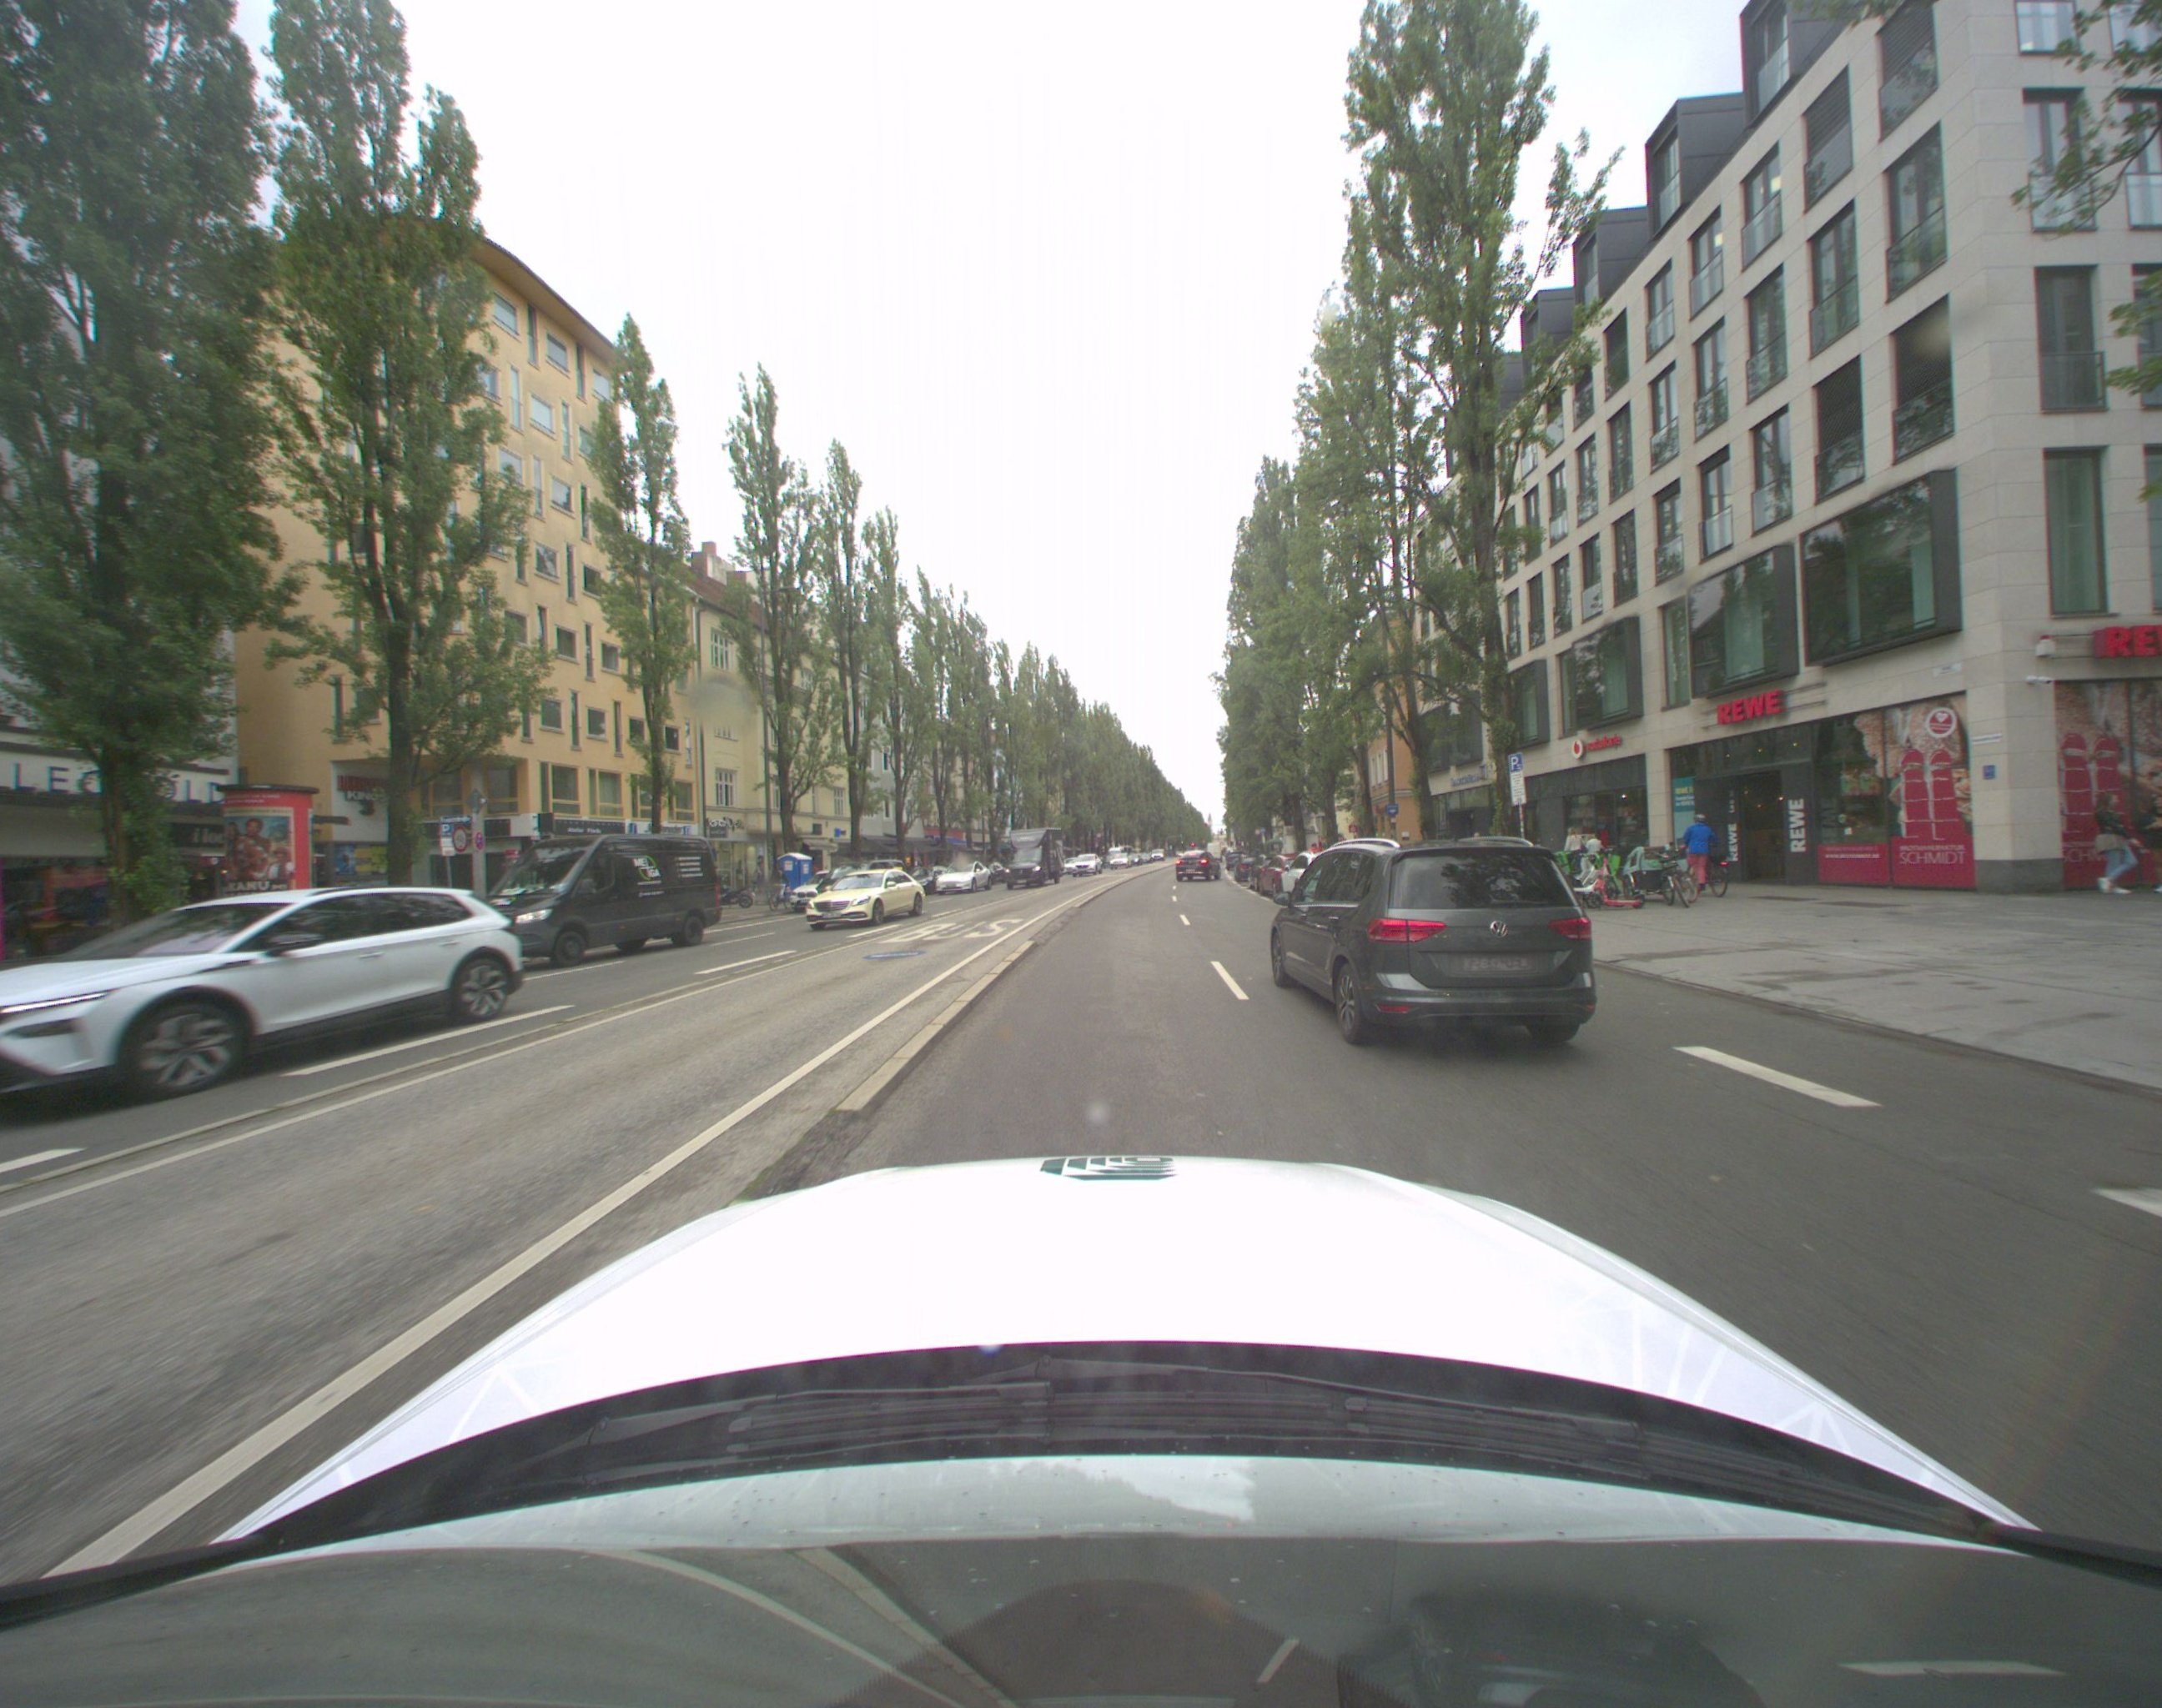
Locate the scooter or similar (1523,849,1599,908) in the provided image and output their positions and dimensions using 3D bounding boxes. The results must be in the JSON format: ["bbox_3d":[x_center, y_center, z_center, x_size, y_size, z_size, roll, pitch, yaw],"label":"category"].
[{"bbox_3d":[10.528,0.531,17.871,1.430,1.201,0.311,-3,0,0],"label":"scooter or similar"}]

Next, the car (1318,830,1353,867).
[{"bbox_3d":[17.593,-0.382,56.170,1.885,2.328,4.850,-3,0,21],"label":"car"}]

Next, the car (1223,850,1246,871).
[{"bbox_3d":[12.384,0.488,65.758,1.614,1.565,4.382,-3,0,9],"label":"car"}]

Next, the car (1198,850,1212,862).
[{"bbox_3d":[20.243,0.320,133.018,1.980,1.717,4.013,-3,0,11],"label":"car"}]

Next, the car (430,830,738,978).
[{"bbox_3d":[-10.323,0.913,17.789,2.156,2.605,6.081,-3,0,10],"label":"car"}]

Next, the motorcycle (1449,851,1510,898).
[{"bbox_3d":[12.174,0.614,24.915,0.687,1.356,1.633,-3,0,-18],"label":"motorcycle"}]

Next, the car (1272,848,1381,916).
[{"bbox_3d":[6.354,0.662,21.633,1.801,1.500,4.813,-3,0,6],"label":"car"}]

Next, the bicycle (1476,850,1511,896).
[{"bbox_3d":[11.535,0.521,22.753,0.540,1.189,1.464,-3,0,38],"label":"bicycle"}]

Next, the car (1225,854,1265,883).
[{"bbox_3d":[8.678,0.736,43.342,1.723,1.394,4.443,-3,0,8],"label":"car"}]

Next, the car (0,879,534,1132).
[{"bbox_3d":[-7.892,1.153,7.869,1.900,1.603,4.362,-3,0,6],"label":"car"}]

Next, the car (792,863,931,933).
[{"bbox_3d":[-6.164,1.177,23.673,1.983,1.589,5.205,-4,0,7],"label":"car"}]

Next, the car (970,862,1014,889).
[{"bbox_3d":[-6.060,1.475,56.162,1.851,1.629,4.180,-3,0,10],"label":"car"}]

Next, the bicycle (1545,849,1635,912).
[{"bbox_3d":[10.531,0.542,16.873,1.473,1.207,0.536,-3,0,1],"label":"bicycle"}]

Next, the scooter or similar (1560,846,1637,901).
[{"bbox_3d":[12.162,0.448,19.149,1.377,1.211,0.555,-3,0,7],"label":"scooter or similar"}]

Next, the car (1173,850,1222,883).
[{"bbox_3d":[6.567,0.668,45.502,1.866,1.642,4.604,-3,0,17],"label":"car"}]

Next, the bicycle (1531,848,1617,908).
[{"bbox_3d":[10.526,0.506,17.411,1.473,1.207,0.536,-3,0,1],"label":"bicycle"}]

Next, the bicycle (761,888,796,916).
[{"bbox_3d":[-12.256,1.942,33.024,0.506,1.006,1.772,-3,0,9],"label":"bicycle"}]

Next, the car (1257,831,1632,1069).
[{"bbox_3d":[2.972,0.675,7.753,1.755,1.613,4.185,-2,0,1],"label":"car"}]

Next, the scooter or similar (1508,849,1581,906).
[{"bbox_3d":[10.543,0.532,18.531,1.430,1.201,0.311,-3,0,0],"label":"scooter or similar"}]

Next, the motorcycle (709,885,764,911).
[{"bbox_3d":[-14.544,1.844,34.427,2.056,1.036,0.484,-1,-1,-11],"label":"motorcycle"}]

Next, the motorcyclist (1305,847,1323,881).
[{"bbox_3d":[10.185,0.432,35.680,0.561,1.406,0.767,-3,0,6],"label":"motorcyclist"}]

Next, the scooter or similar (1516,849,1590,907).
[{"bbox_3d":[10.540,0.527,18.193,1.430,1.201,0.311,-3,0,0],"label":"scooter or similar"}]

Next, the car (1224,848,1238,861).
[{"bbox_3d":[20.887,0.074,113.730,1.794,1.596,4.011,-3,0,9],"label":"car"}]

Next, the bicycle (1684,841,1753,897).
[{"bbox_3d":[14.336,0.322,18.361,0.447,1.172,1.774,-3,0,12],"label":"bicycle"}]

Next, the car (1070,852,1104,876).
[{"bbox_3d":[0.525,0.745,63.043,1.849,1.711,4.548,-4,0,9],"label":"car"}]

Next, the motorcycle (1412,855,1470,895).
[{"bbox_3d":[11.045,0.636,25.036,0.687,1.156,1.633,-3,0,-18],"label":"motorcycle"}]

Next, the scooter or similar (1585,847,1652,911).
[{"bbox_3d":[10.816,0.506,16.398,1.046,1.226,0.380,-3,0,1],"label":"scooter or similar"}]

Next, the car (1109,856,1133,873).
[{"bbox_3d":[4.241,1.104,85.640,1.928,1.642,4.475,-3,0,9],"label":"car"}]

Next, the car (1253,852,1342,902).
[{"bbox_3d":[7.069,0.701,27.053,1.922,1.450,4.809,-3,0,4],"label":"car"}]

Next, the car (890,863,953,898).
[{"bbox_3d":[-8.466,1.364,43.525,1.851,1.629,4.180,-3,0,10],"label":"car"}]

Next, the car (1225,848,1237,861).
[{"bbox_3d":[24.027,0.123,130.906,1.794,1.992,4.010,-1,-1,9],"label":"car"}]
